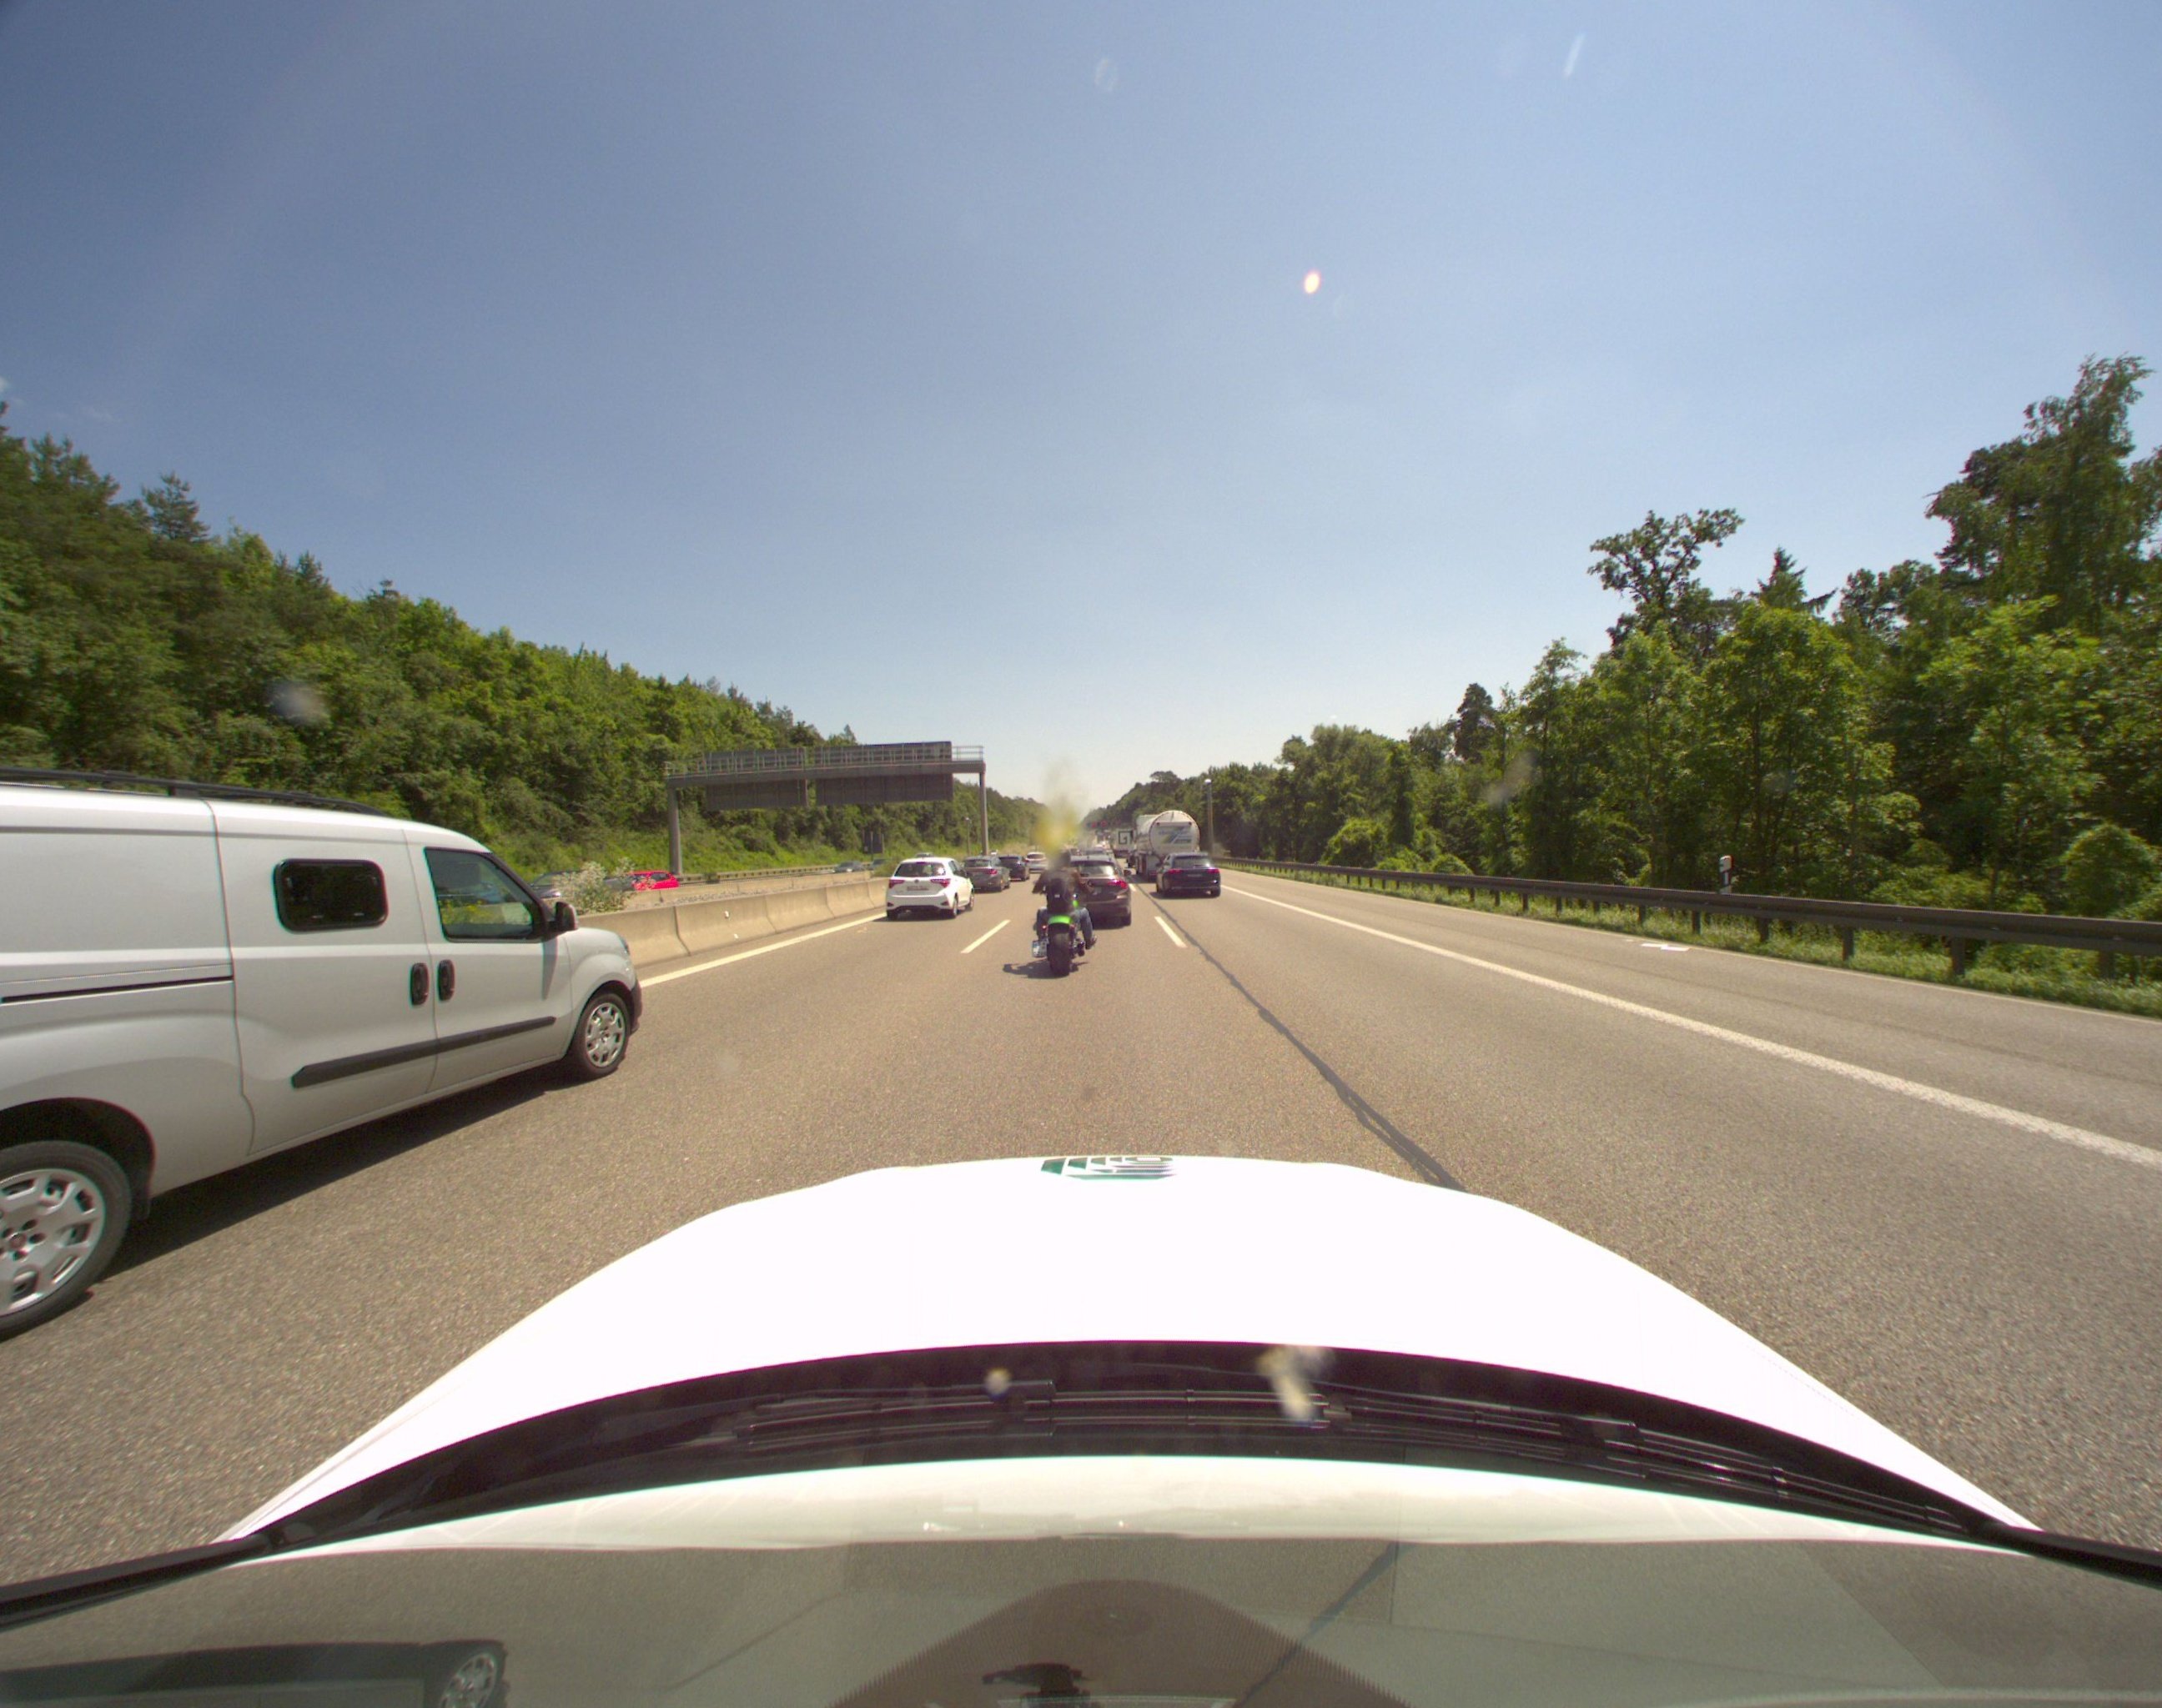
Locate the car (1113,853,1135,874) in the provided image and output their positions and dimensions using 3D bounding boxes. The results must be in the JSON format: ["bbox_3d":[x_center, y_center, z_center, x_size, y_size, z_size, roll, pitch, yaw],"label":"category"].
[{"bbox_3d":[4.342,1.003,83.410,1.987,2.014,3.999,-1,-1,0],"label":"car"}]

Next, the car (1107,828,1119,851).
[{"bbox_3d":[5.937,-2.618,151.602,2.159,3.893,9.332,-1,-1,1],"label":"car"}]

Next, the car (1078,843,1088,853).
[{"bbox_3d":[0.421,-1.242,166.319,1.986,2.013,4.001,-2,0,1],"label":"car"}]

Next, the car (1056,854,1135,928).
[{"bbox_3d":[0.339,0.732,18.170,1.535,1.450,4.001,-1,0,1],"label":"car"}]

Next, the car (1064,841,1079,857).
[{"bbox_3d":[-1.216,-0.602,104.344,1.654,1.978,4.002,-2,-1,2],"label":"car"}]

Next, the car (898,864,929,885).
[{"bbox_3d":[-16.826,2.055,82.049,1.986,2.014,4.284,-1,-1,2],"label":"car"}]

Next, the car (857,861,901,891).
[{"bbox_3d":[-14.004,1.522,56.644,1.947,2.014,4.001,-1,-1,2],"label":"car"}]

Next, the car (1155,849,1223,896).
[{"bbox_3d":[3.602,0.620,27.897,1.785,1.458,4.625,-1,-1,1],"label":"car"}]

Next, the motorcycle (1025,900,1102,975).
[{"bbox_3d":[-0.186,1.095,11.230,0.932,0.793,2.299,-1,0,1],"label":"motorcycle"}]

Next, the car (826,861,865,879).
[{"bbox_3d":[-19.875,1.382,68.955,1.986,1.447,4.002,-1,-1,2],"label":"car"}]

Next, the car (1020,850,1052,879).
[{"bbox_3d":[-3.204,0.771,58.306,1.986,2.014,4.000,-1,-1,1],"label":"car"}]

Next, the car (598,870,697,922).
[{"bbox_3d":[-18.039,1.695,34.121,1.987,2.014,4.000,-1,-1,0],"label":"car"}]

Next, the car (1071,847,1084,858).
[{"bbox_3d":[-0.496,-0.212,119.462,1.654,1.599,4.002,-2,-1,2],"label":"car"}]

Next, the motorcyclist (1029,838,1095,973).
[{"bbox_3d":[-0.230,0.659,10.825,0.796,1.688,1.017,-1,-1,1],"label":"motorcyclist"}]

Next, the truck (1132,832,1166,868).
[{"bbox_3d":[6.075,-0.356,73.771,2.380,2.979,8.252,-1,0,0],"label":"truck"}]

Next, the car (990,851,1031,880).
[{"bbox_3d":[-3.753,0.603,43.827,1.988,1.464,3.997,-1,-1,-2],"label":"car"}]

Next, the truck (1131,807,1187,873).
[{"bbox_3d":[4.530,-0.732,48.595,2.817,3.671,6.431,-1,-1,1],"label":"truck"}]

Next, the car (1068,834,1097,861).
[{"bbox_3d":[0.121,-0.409,57.135,1.987,1.775,4.000,-1,-1,0],"label":"car"}]

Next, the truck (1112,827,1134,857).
[{"bbox_3d":[5.946,-1.624,114.455,2.841,3.821,7.195,-1,-1,4],"label":"truck"}]

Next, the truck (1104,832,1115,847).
[{"bbox_3d":[7.223,-3.668,207.817,2.686,3.405,10.481,-2,0,1],"label":"truck"}]

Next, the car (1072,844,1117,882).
[{"bbox_3d":[0.643,0.433,38.442,1.987,1.711,4.000,-1,-1,0],"label":"car"}]

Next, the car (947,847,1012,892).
[{"bbox_3d":[-4.043,0.607,33.213,1.986,1.684,4.331,-1,-1,1],"label":"car"}]

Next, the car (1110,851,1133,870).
[{"bbox_3d":[3.315,0.569,67.224,1.769,1.527,4.001,-1,-1,1],"label":"car"}]

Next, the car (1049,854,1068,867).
[{"bbox_3d":[-2.411,0.715,88.542,1.757,1.442,4.001,-1,-1,2],"label":"car"}]

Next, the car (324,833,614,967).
[{"bbox_3d":[-10.480,0.733,14.420,1.986,2.014,4.002,-1,-1,2],"label":"car"}]

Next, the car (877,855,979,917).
[{"bbox_3d":[-3.825,0.785,21.059,1.769,1.411,4.001,-1,-1,1],"label":"car"}]

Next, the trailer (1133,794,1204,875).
[{"bbox_3d":[4.366,-0.816,42.991,2.817,3.671,10.735,-1,-1,1],"label":"trailer"}]

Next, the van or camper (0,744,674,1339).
[{"bbox_3d":[-4.279,0.611,4.264,1.846,1.880,4.563,-1,0,2],"label":"van or camper"}]
